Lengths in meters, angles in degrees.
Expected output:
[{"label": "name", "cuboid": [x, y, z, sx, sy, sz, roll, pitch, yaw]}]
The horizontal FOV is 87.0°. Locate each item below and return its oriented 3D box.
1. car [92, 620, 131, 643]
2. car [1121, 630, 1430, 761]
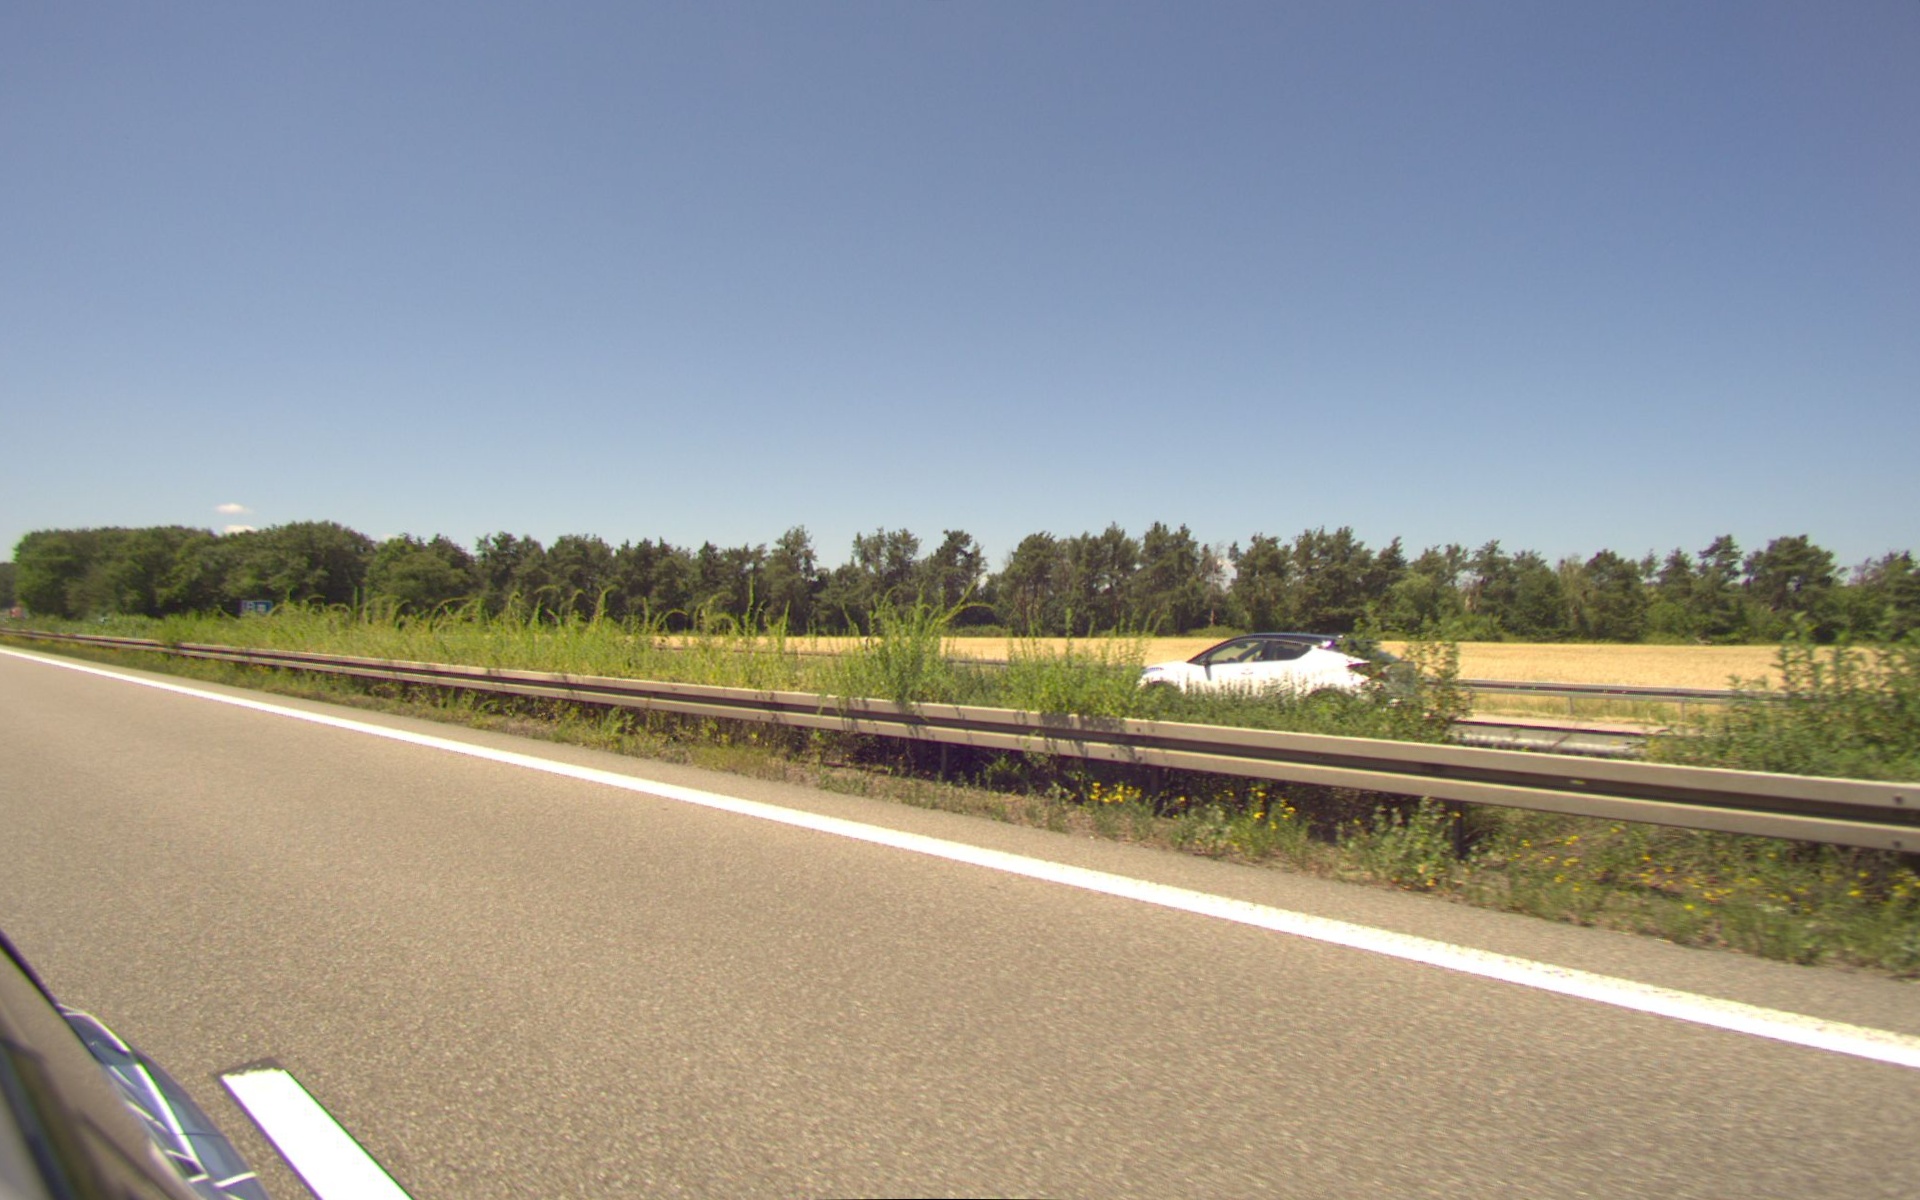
[{"label": "car", "cuboid": [-69.830, 2.571, 83.273, 4.429, 1.792, 1.828, -1, -2, 42]}, {"label": "car", "cuboid": [4.519, 1.266, 14.808, 3.927, 1.632, 1.828, -1, -2, 42]}]
